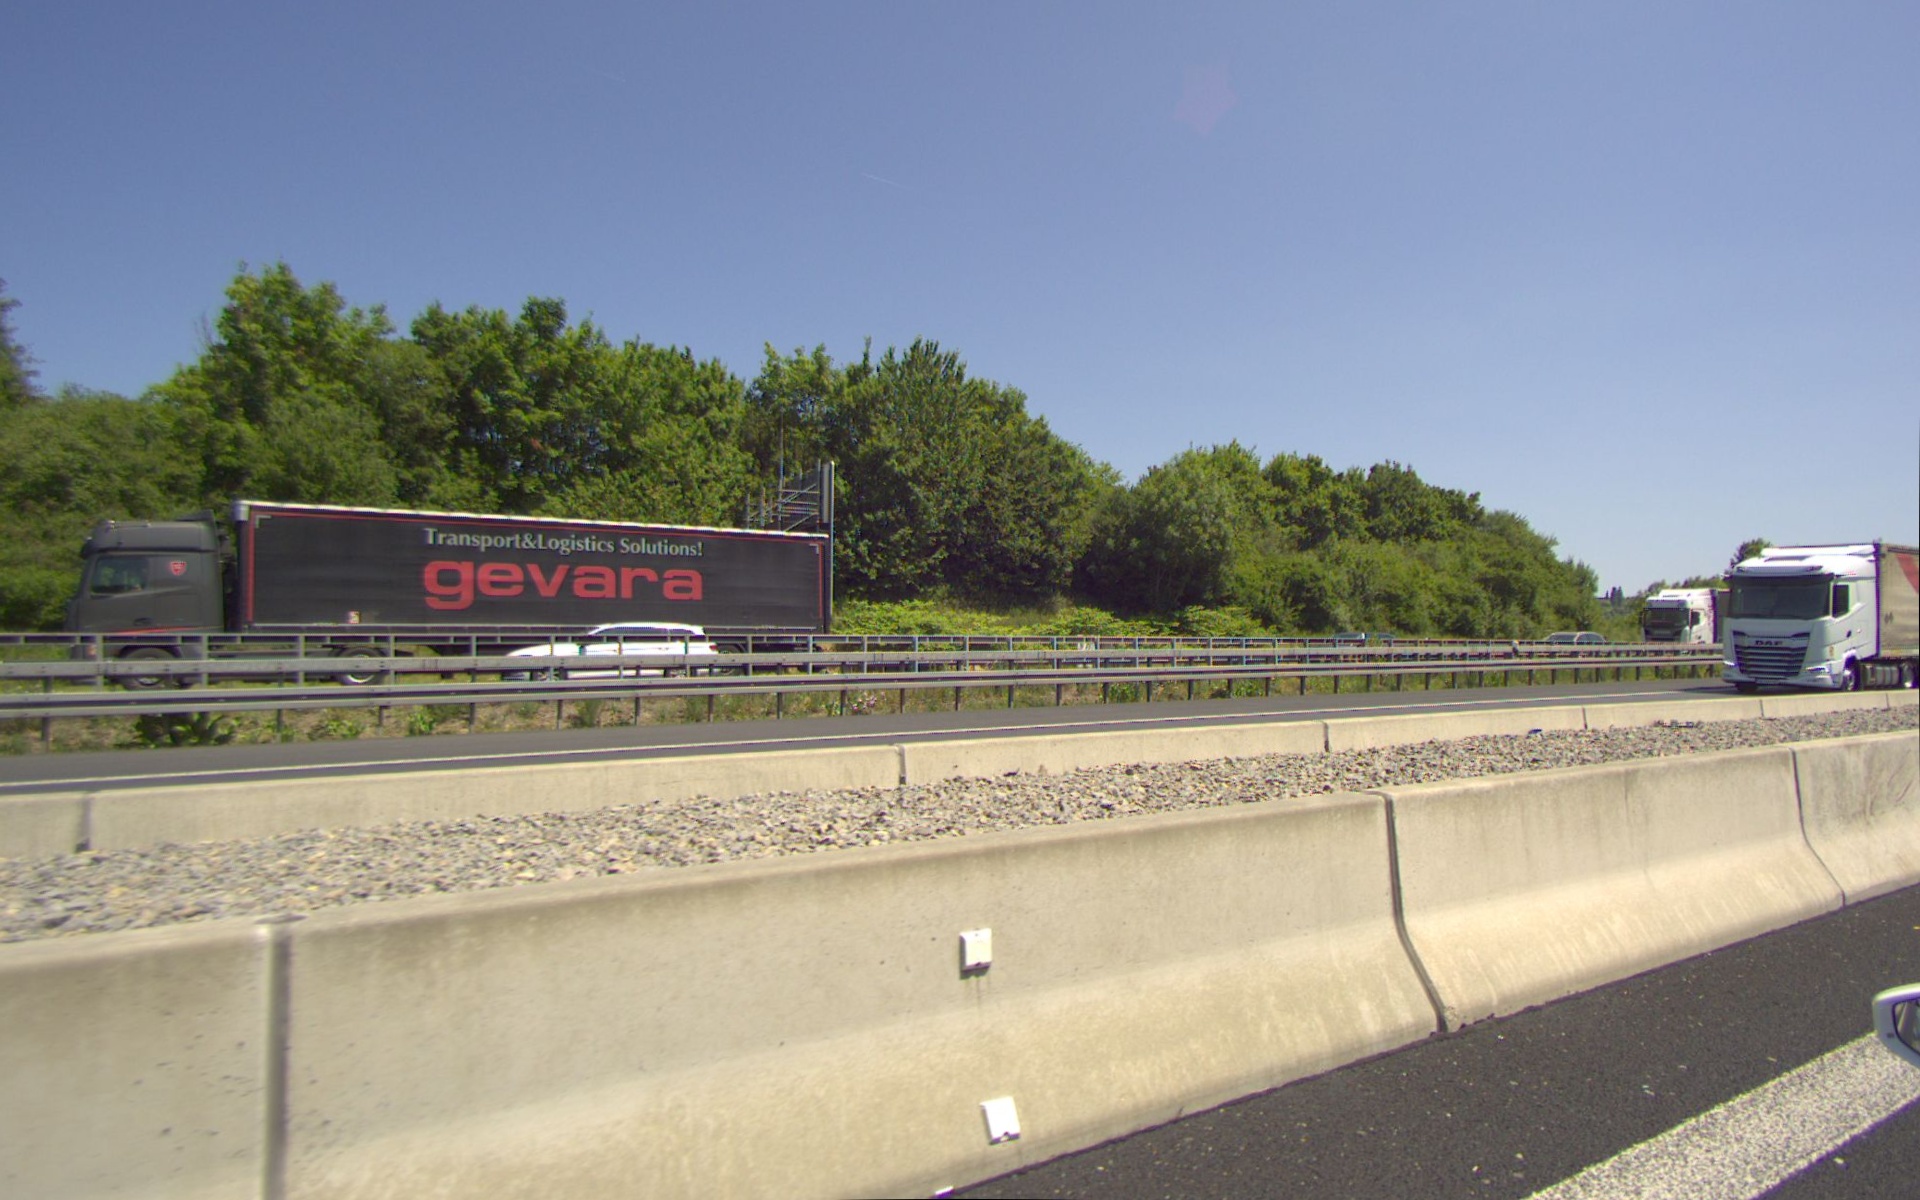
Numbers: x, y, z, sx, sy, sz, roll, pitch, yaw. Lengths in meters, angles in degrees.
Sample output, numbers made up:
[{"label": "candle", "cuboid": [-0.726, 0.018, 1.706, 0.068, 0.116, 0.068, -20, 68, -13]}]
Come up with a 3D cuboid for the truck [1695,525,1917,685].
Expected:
[{"label": "truck", "cuboid": [23.598, 0.188, 27.975, 5.829, 4.026, 2.914, 2, 0, -30]}]

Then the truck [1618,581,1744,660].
[{"label": "truck", "cuboid": [39.758, 1.159, 55.383, 6.561, 4.099, 3.205, 2, 0, -30]}]

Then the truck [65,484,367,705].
[{"label": "truck", "cuboid": [-15.996, -0.050, 22.096, 4.940, 4.329, 2.796, 2, 0, -31]}]

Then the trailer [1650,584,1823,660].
[{"label": "trailer", "cuboid": [45.621, 1.349, 58.820, 13.378, 4.099, 3.204, 2, 0, -30]}]

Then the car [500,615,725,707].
[{"label": "car", "cuboid": [-7.776, 1.318, 22.578, 4.485, 1.882, 1.984, 1, -1, -30]}]

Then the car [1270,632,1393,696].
[{"label": "car", "cuboid": [13.116, 2.222, 35.436, 3.953, 2.040, 1.984, 2, 0, -30]}]

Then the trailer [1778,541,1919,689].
[{"label": "trailer", "cuboid": [30.645, 0.582, 32.127, 11.922, 4.099, 2.896, 2, 0, -30]}]

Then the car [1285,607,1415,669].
[{"label": "car", "cuboid": [13.702, 1.319, 35.231, 4.435, 2.040, 1.983, 2, 0, -32]}]

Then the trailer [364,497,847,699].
[{"label": "trailer", "cuboid": [-8.848, 0.108, 26.373, 11.517, 4.492, 2.781, 2, 0, -30]}]
